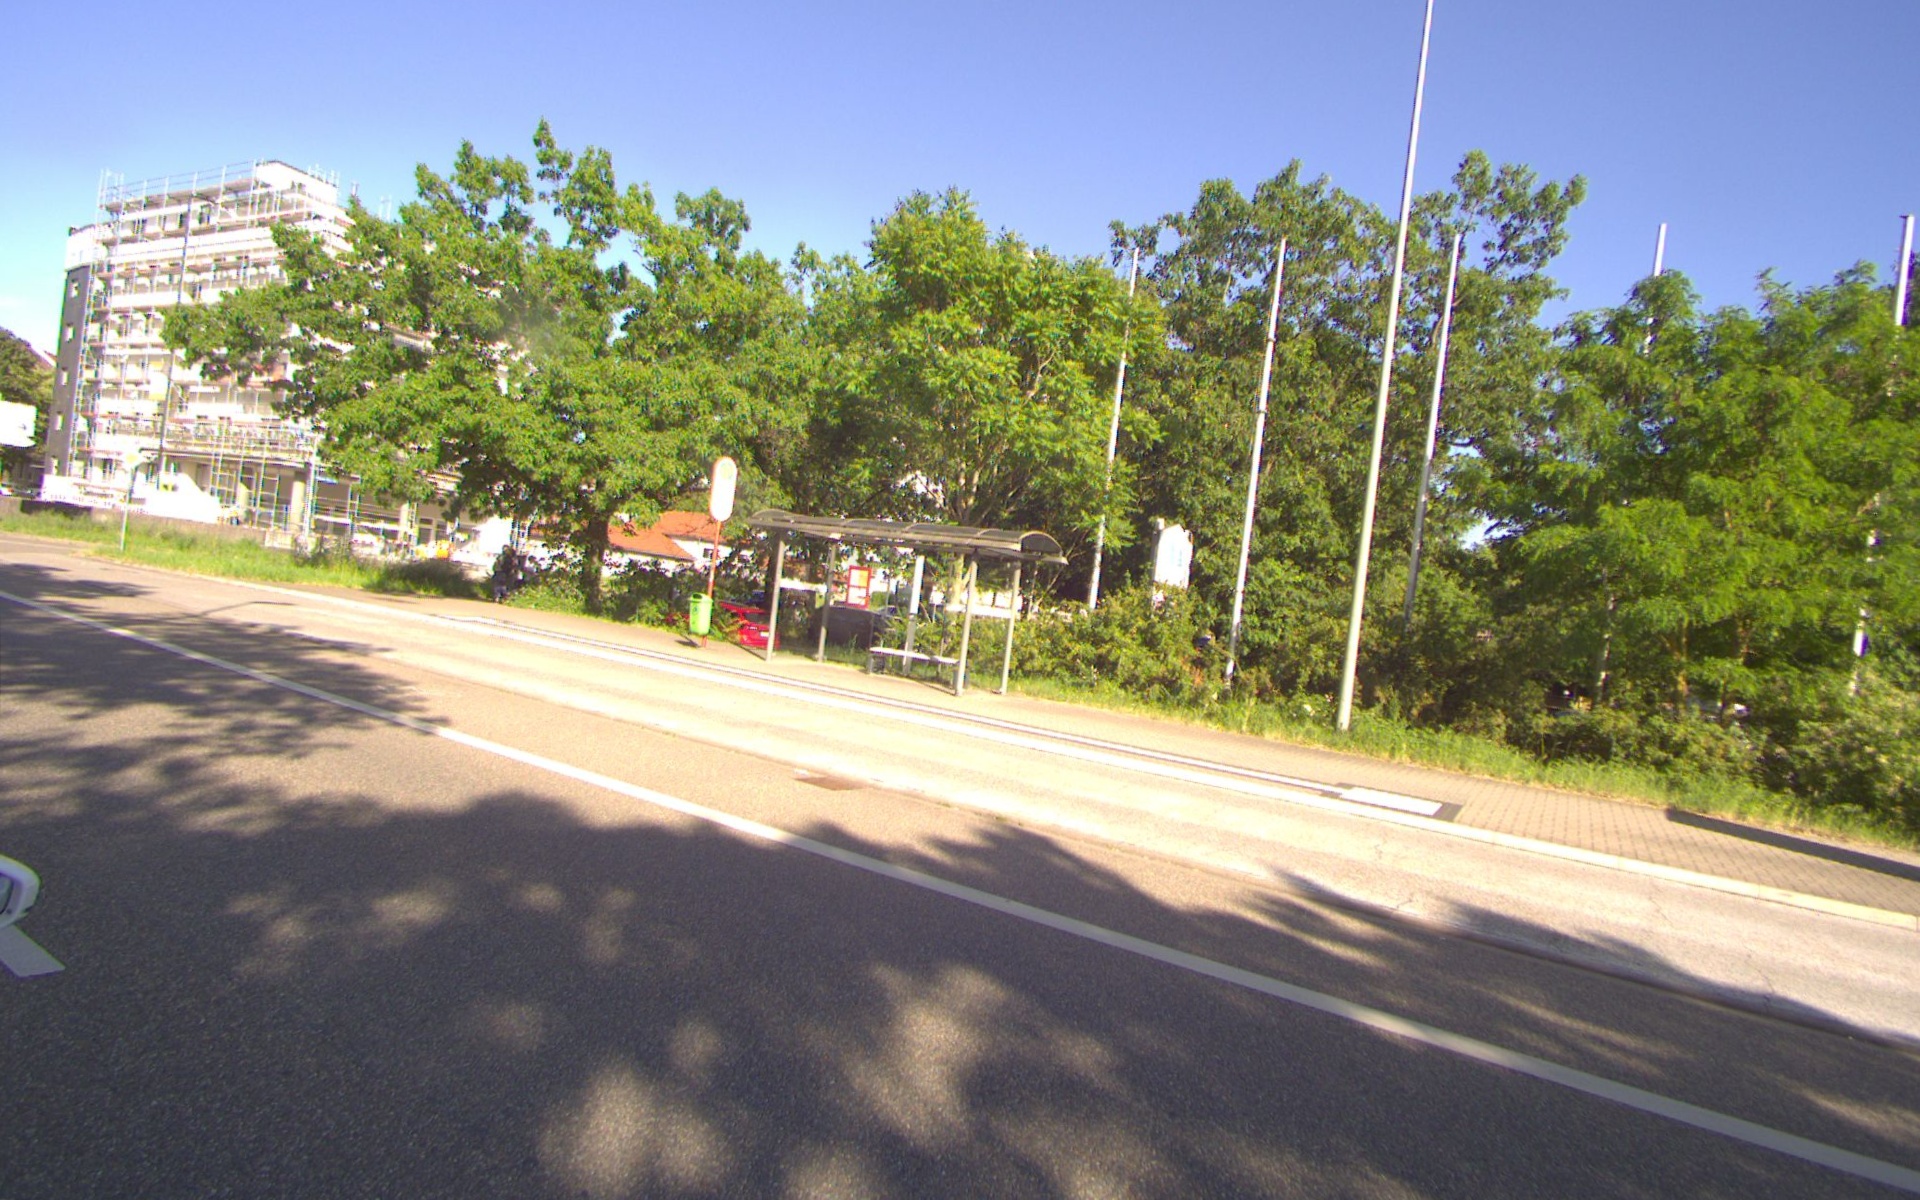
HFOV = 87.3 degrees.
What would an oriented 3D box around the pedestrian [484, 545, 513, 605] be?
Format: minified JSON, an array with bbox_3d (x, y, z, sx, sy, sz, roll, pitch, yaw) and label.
[{"bbox_3d":[-13.049,-0.704,28.450,0.517,1.632,0.587,7,1,-32],"label":"pedestrian"}]

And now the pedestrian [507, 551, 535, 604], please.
[{"bbox_3d":[-12.739,-0.656,29.175,0.517,1.465,0.587,7,1,-32],"label":"pedestrian"}]

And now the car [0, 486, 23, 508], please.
[{"bbox_3d":[-66.606,-7.214,70.154,1.521,1.330,3.250,7,0,-40],"label":"car"}]

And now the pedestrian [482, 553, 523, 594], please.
[{"bbox_3d":[-17.987,-1.044,39.559,0.948,1.465,0.895,7,0,17],"label":"pedestrian"}]

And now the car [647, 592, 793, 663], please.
[{"bbox_3d":[-6.867,0.794,28.743,3.680,1.504,1.755,7,0,28],"label":"car"}]

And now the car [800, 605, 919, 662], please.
[{"bbox_3d":[-3.580,1.181,35.977,3.674,1.504,1.914,7,0,13],"label":"car"}]

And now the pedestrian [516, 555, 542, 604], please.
[{"bbox_3d":[-13.413,-0.636,31.290,0.517,1.465,0.587,7,1,-32],"label":"pedestrian"}]
